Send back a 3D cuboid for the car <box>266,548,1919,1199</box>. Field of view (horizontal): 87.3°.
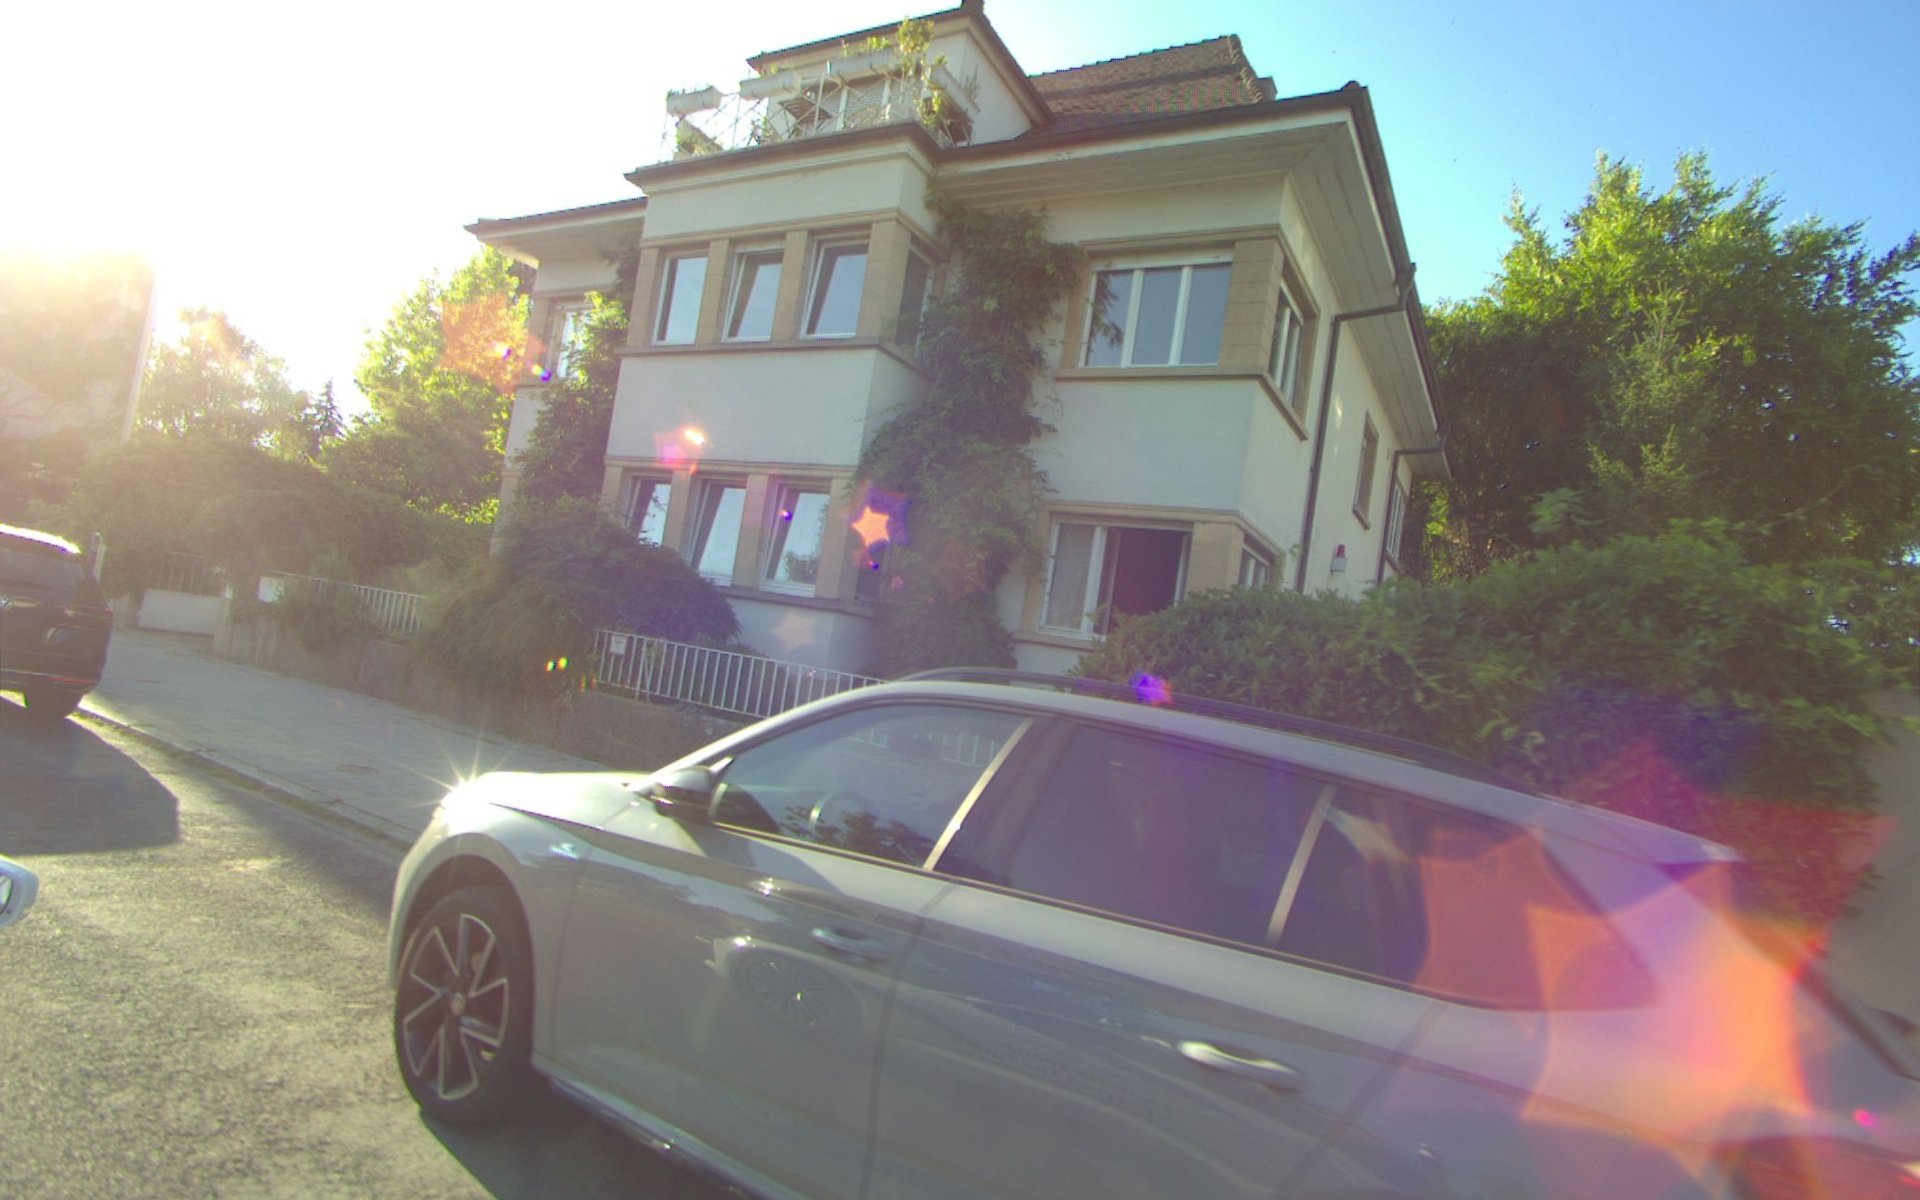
[{"bbox_3d":[0.151,0.946,2.983,4.390,1.550,1.892,6,-8,33],"label":"car"}]

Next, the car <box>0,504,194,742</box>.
[{"bbox_3d":[-8.986,-0.070,8.568,4.804,1.611,2.004,6,-8,30],"label":"car"}]
